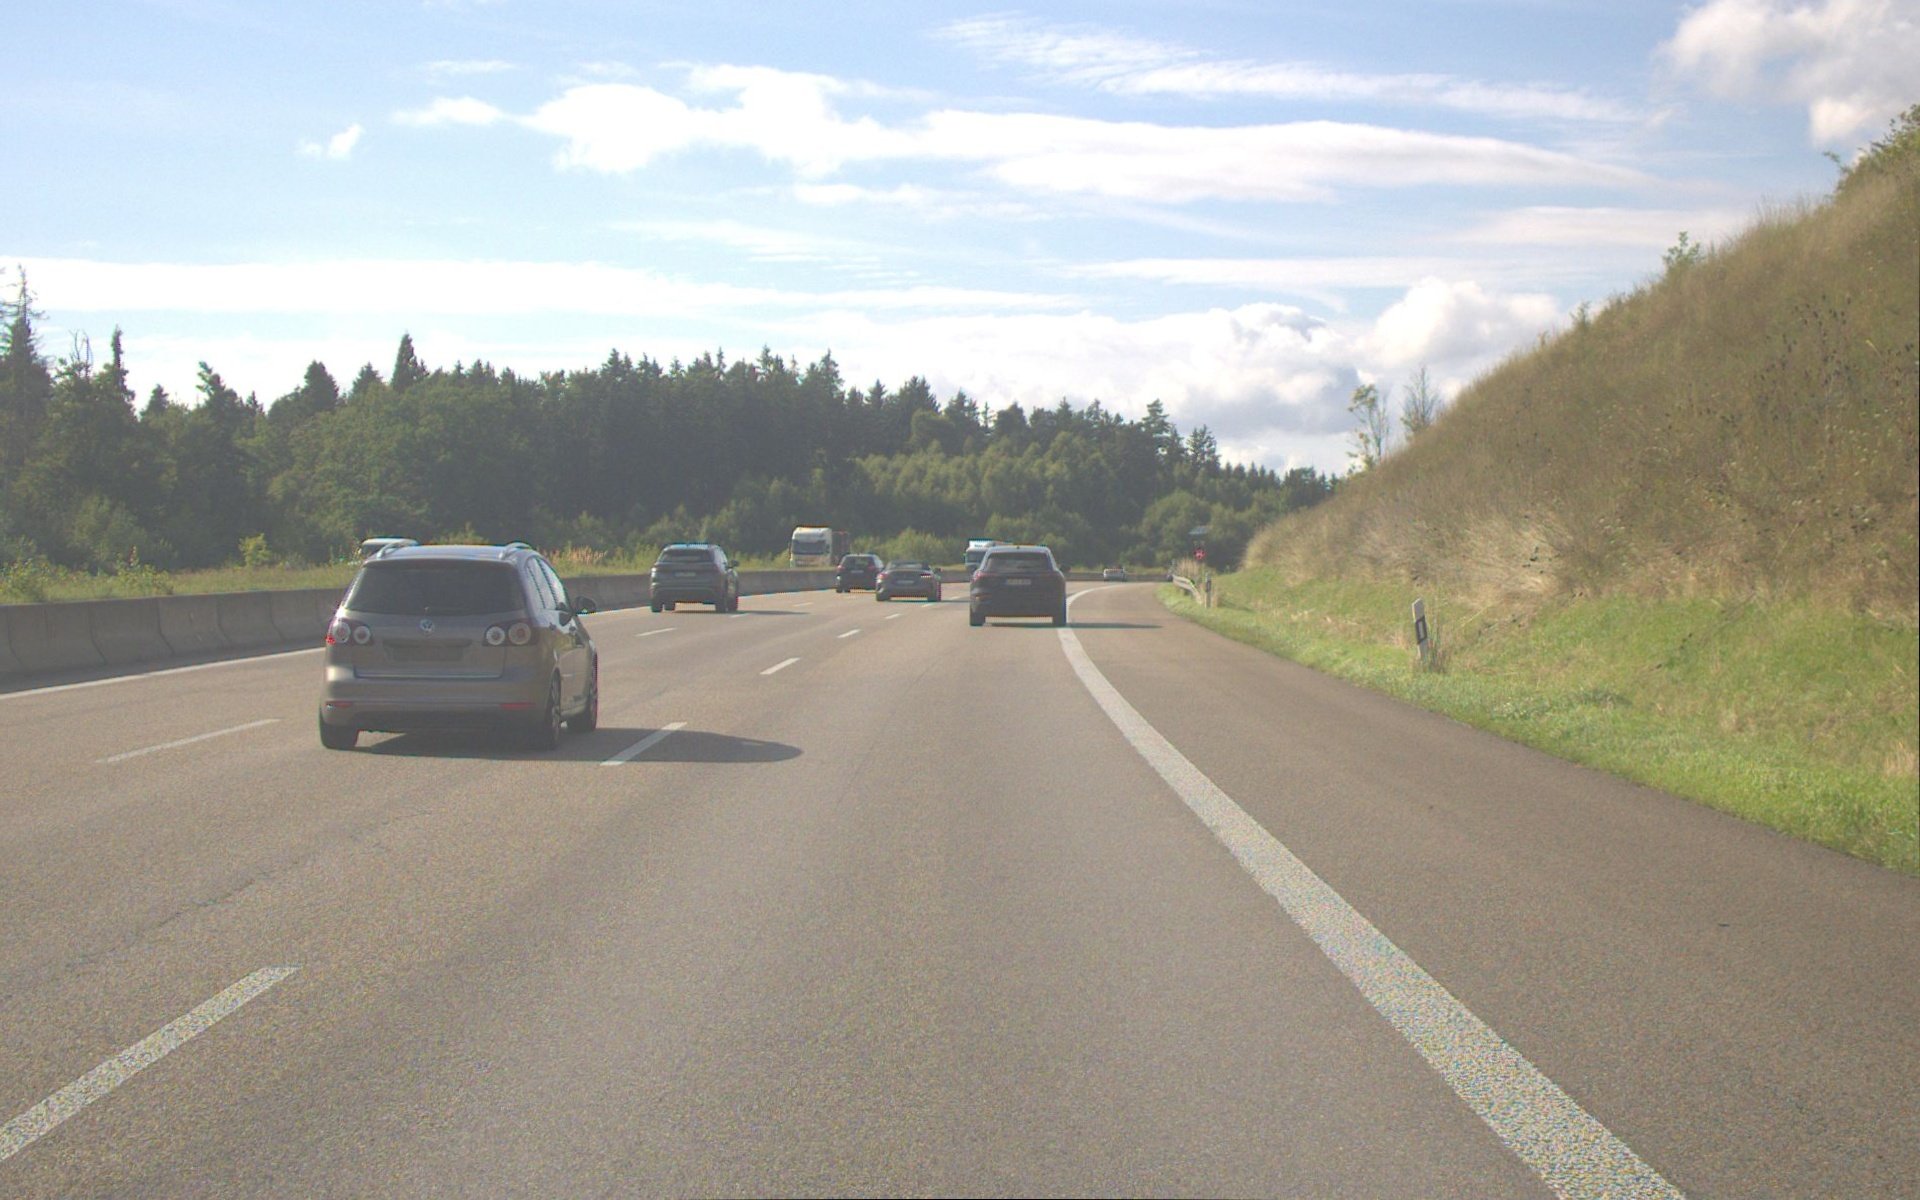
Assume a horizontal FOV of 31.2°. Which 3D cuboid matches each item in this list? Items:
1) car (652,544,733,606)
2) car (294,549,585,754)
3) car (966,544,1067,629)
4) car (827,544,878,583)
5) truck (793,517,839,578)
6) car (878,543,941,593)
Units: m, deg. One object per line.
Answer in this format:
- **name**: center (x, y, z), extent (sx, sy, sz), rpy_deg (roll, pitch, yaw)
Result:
- **car**: center (-6.554, -0.625, 84.540), extent (1.873, 1.492, 3.880), rpy_deg (0, 1, -3)
- **car**: center (-4.022, 0.349, 27.133), extent (1.873, 1.492, 3.880), rpy_deg (0, 1, -3)
- **car**: center (1.123, -0.285, 69.932), extent (1.873, 1.669, 3.890), rpy_deg (0, 1, -2)
- **car**: center (-4.152, -1.421, 133.547), extent (1.873, 1.492, 3.880), rpy_deg (0, 1, -1)
- **truck**: center (-10.351, -3.758, 247.081), extent (2.802, 4.377, 5.464), rpy_deg (0, 1, 3)
- **car**: center (-1.561, -1.007, 106.840), extent (1.873, 1.492, 3.880), rpy_deg (0, 1, 0)
